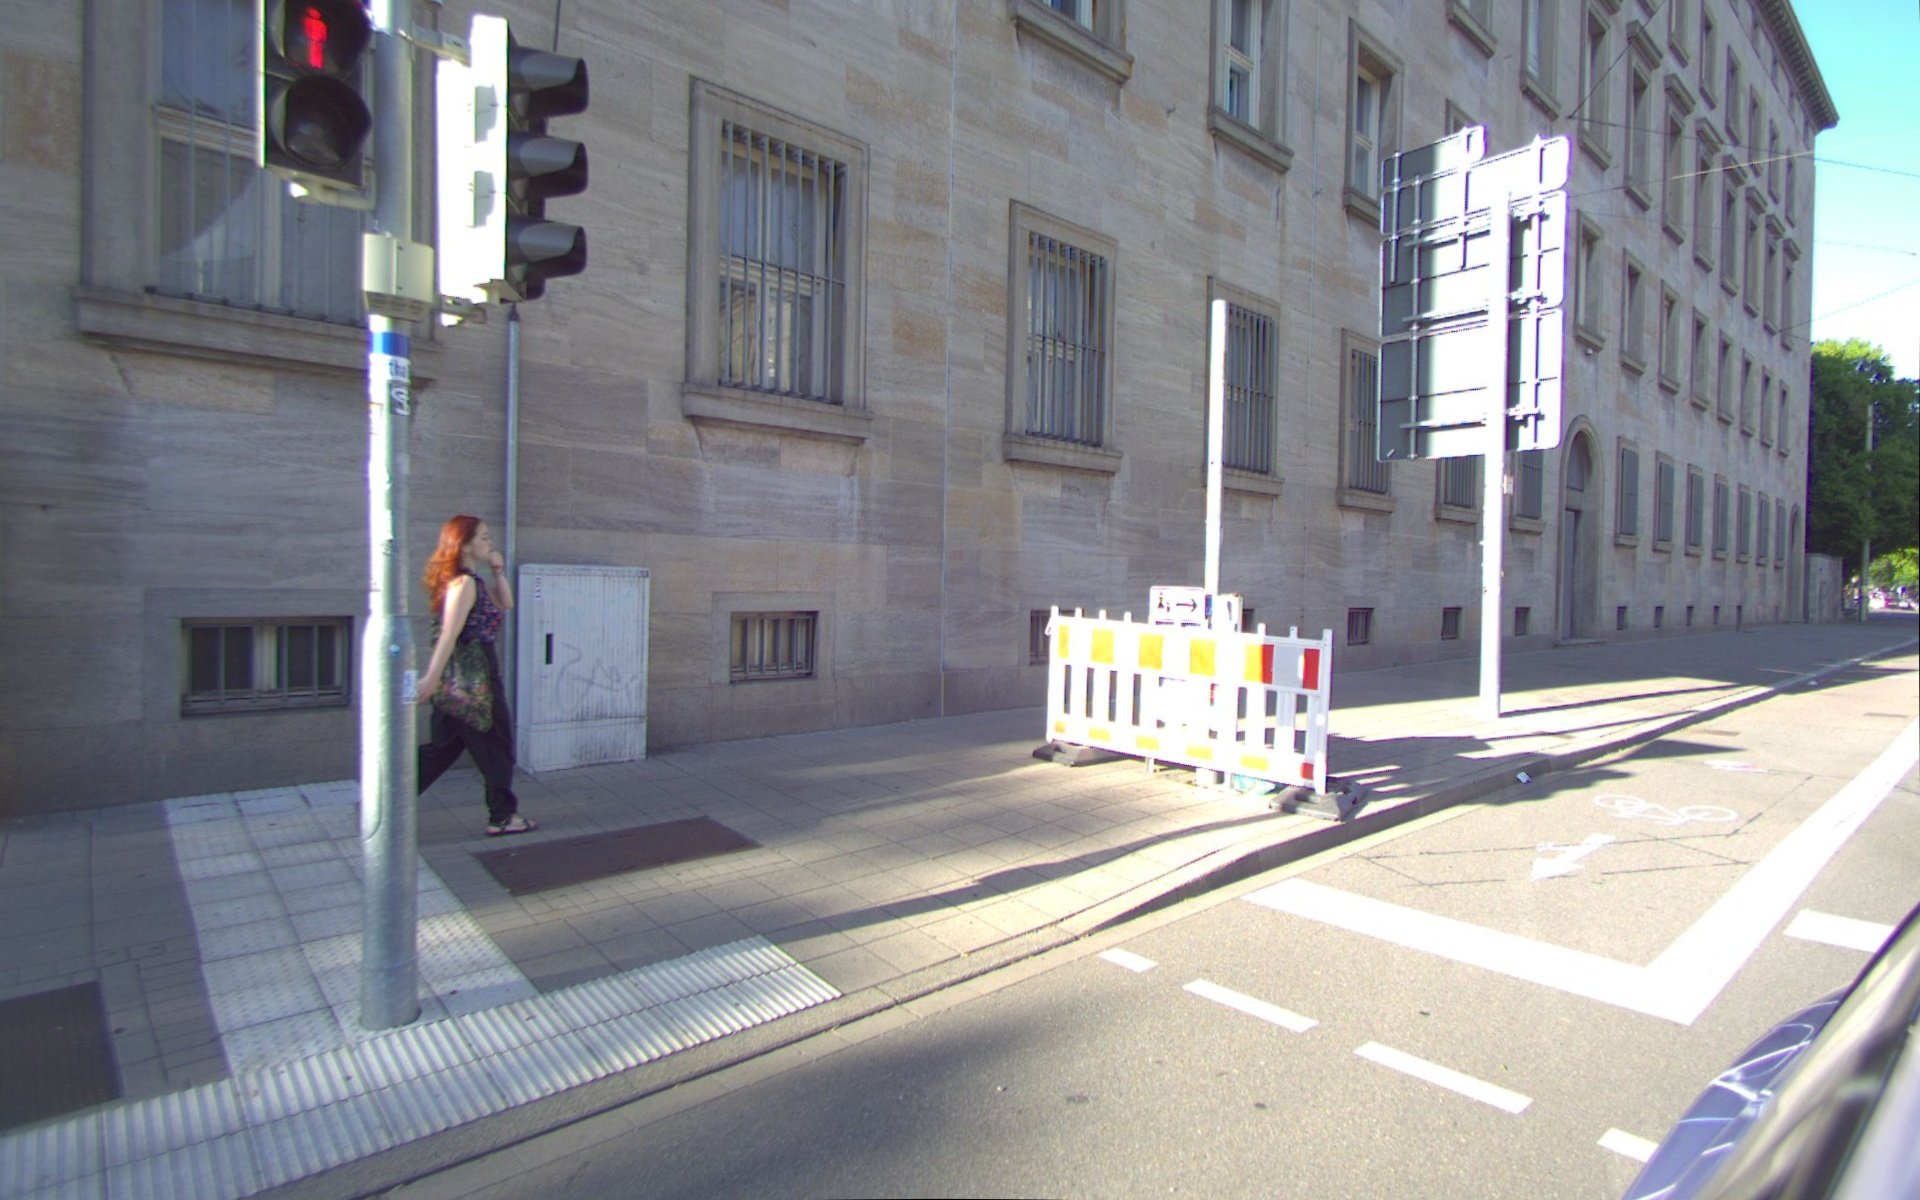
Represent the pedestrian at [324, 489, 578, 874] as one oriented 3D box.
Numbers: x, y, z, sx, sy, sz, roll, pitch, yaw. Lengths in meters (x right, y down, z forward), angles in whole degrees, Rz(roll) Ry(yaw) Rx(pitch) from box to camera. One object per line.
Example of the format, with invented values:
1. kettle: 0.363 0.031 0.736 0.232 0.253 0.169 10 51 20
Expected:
1. pedestrian: -2.474 0.328 4.910 0.903 1.640 0.737 0 6 -42
